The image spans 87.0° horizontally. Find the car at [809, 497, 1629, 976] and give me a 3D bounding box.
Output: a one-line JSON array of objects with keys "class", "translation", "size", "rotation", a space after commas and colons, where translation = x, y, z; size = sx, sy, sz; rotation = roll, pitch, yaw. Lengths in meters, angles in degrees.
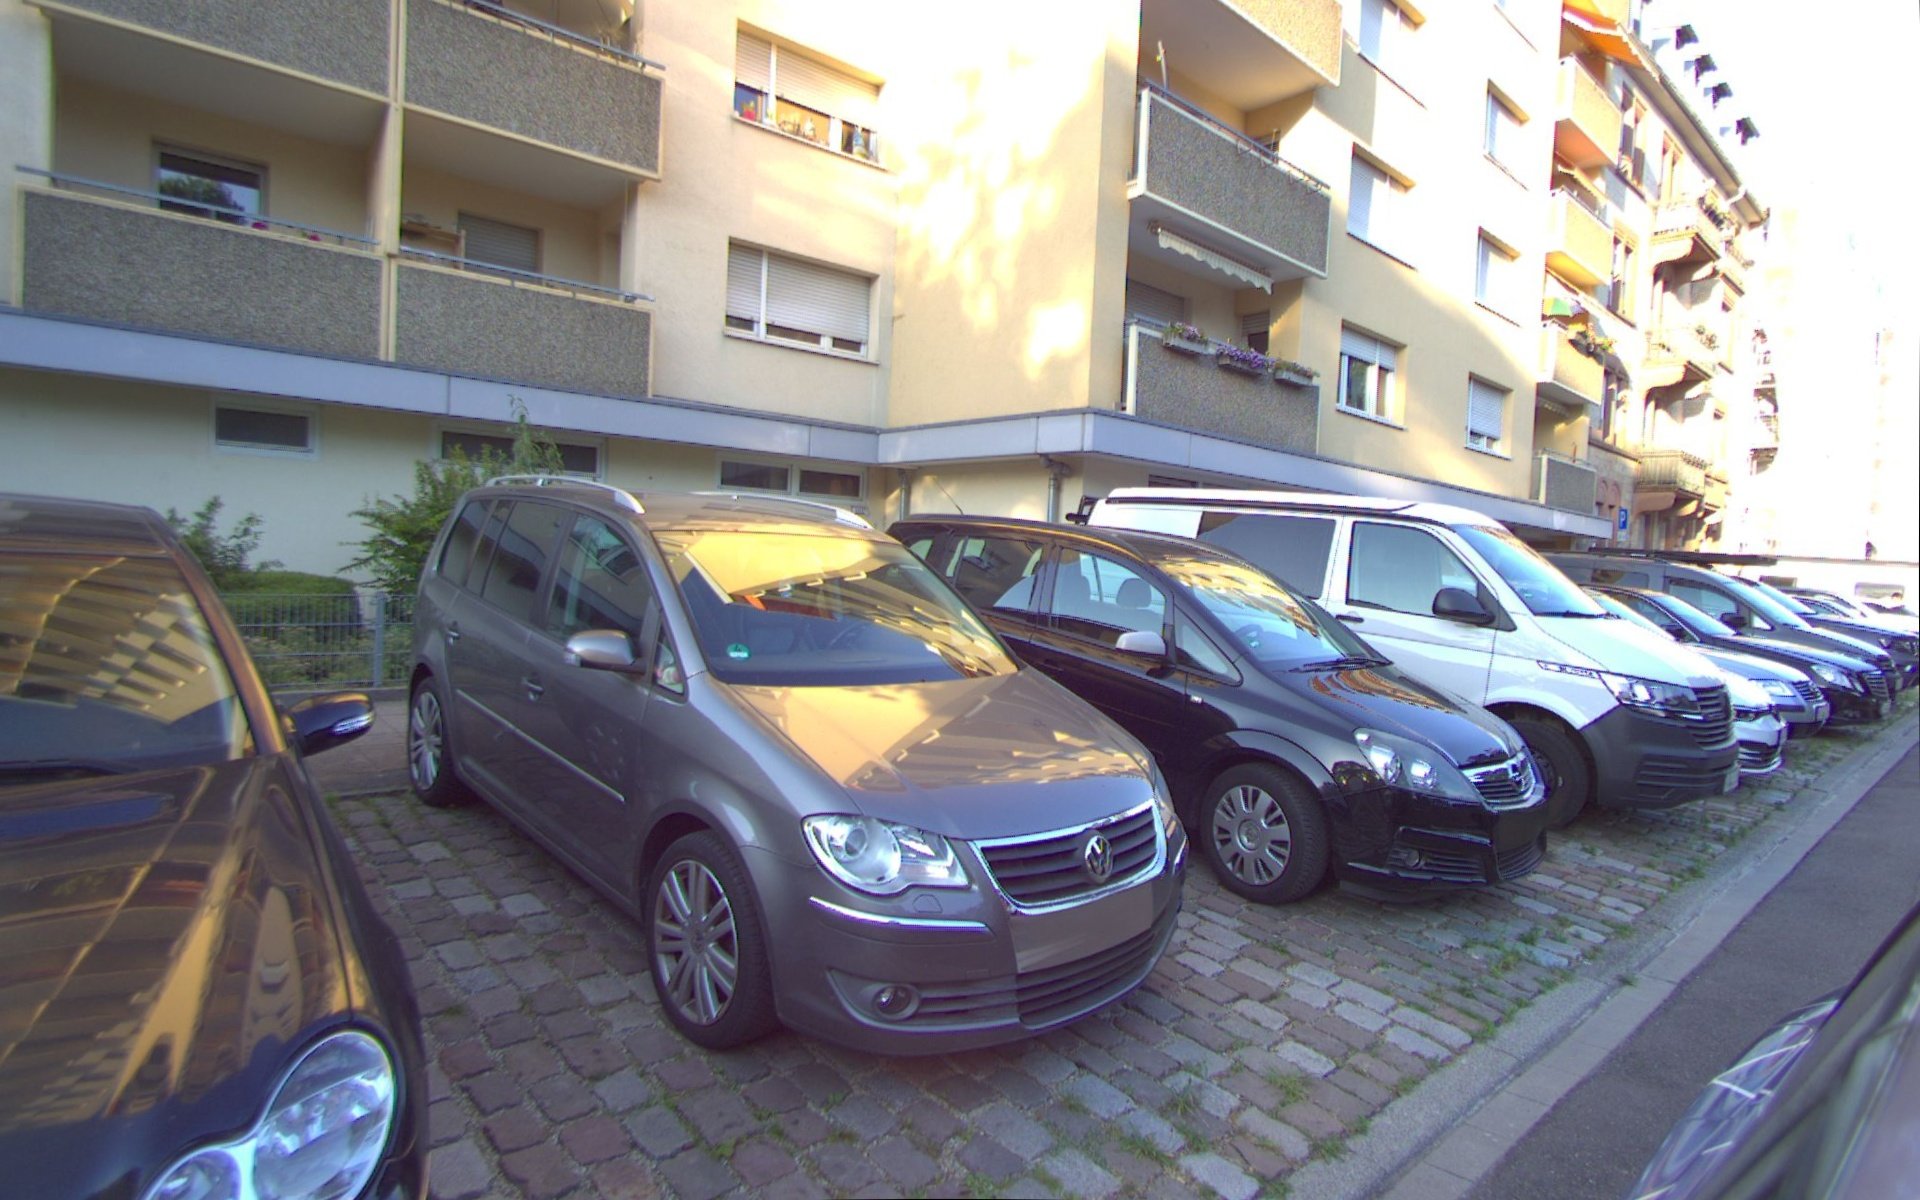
[{"class": "car", "translation": [1.103, 0.335, 5.938], "size": [1.752, 1.680, 4.334], "rotation": [-2, 7, -43]}]

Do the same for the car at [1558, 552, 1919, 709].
[{"class": "car", "translation": [11.995, 0.338, 15.430], "size": [1.814, 1.885, 4.522], "rotation": [0, 4, -41]}]

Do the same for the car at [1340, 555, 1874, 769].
[{"class": "car", "translation": [6.617, 0.429, 10.800], "size": [1.814, 1.611, 4.413], "rotation": [-2, 6, -41]}]

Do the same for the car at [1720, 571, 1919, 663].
[{"class": "car", "translation": [20.594, 0.355, 23.412], "size": [1.812, 1.769, 4.417], "rotation": [0, 5, -39]}]

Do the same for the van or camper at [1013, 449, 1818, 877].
[{"class": "van or camper", "translation": [3.010, 0.054, 7.806], "size": [2.006, 2.192, 5.144], "rotation": [0, 7, -43]}]

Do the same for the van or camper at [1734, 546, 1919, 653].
[{"class": "van or camper", "translation": [24.619, 0.002, 26.859], "size": [2.014, 2.534, 6.074], "rotation": [1, 4, -41]}]

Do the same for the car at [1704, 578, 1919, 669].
[{"class": "car", "translation": [18.834, 0.456, 21.584], "size": [1.813, 1.572, 4.415], "rotation": [-2, 6, -40]}]

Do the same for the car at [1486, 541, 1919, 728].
[{"class": "car", "translation": [10.131, 0.277, 14.010], "size": [1.814, 2.004, 4.647], "rotation": [-2, 6, -41]}]

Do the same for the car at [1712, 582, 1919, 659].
[{"class": "car", "translation": [21.977, 0.453, 25.611], "size": [1.813, 1.638, 4.414], "rotation": [-2, 4, -40]}]

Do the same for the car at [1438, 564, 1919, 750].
[{"class": "car", "translation": [8.393, 0.478, 12.122], "size": [1.814, 1.581, 4.413], "rotation": [-2, 6, -41]}]

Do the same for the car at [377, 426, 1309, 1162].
[{"class": "car", "translation": [-0.997, 0.203, 4.497], "size": [1.815, 1.680, 4.412], "rotation": [-2, 7, -43]}]

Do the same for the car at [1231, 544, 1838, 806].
[{"class": "car", "translation": [4.914, 0.407, 9.233], "size": [1.814, 1.650, 4.413], "rotation": [-2, 6, -41]}]

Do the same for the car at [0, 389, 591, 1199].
[{"class": "car", "translation": [-2.772, 0.362, 2.650], "size": [1.815, 1.549, 4.411], "rotation": [-2, 6, -43]}]

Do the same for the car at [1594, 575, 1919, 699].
[{"class": "car", "translation": [13.738, 0.502, 17.404], "size": [1.813, 1.572, 4.416], "rotation": [-2, 6, -39]}]
